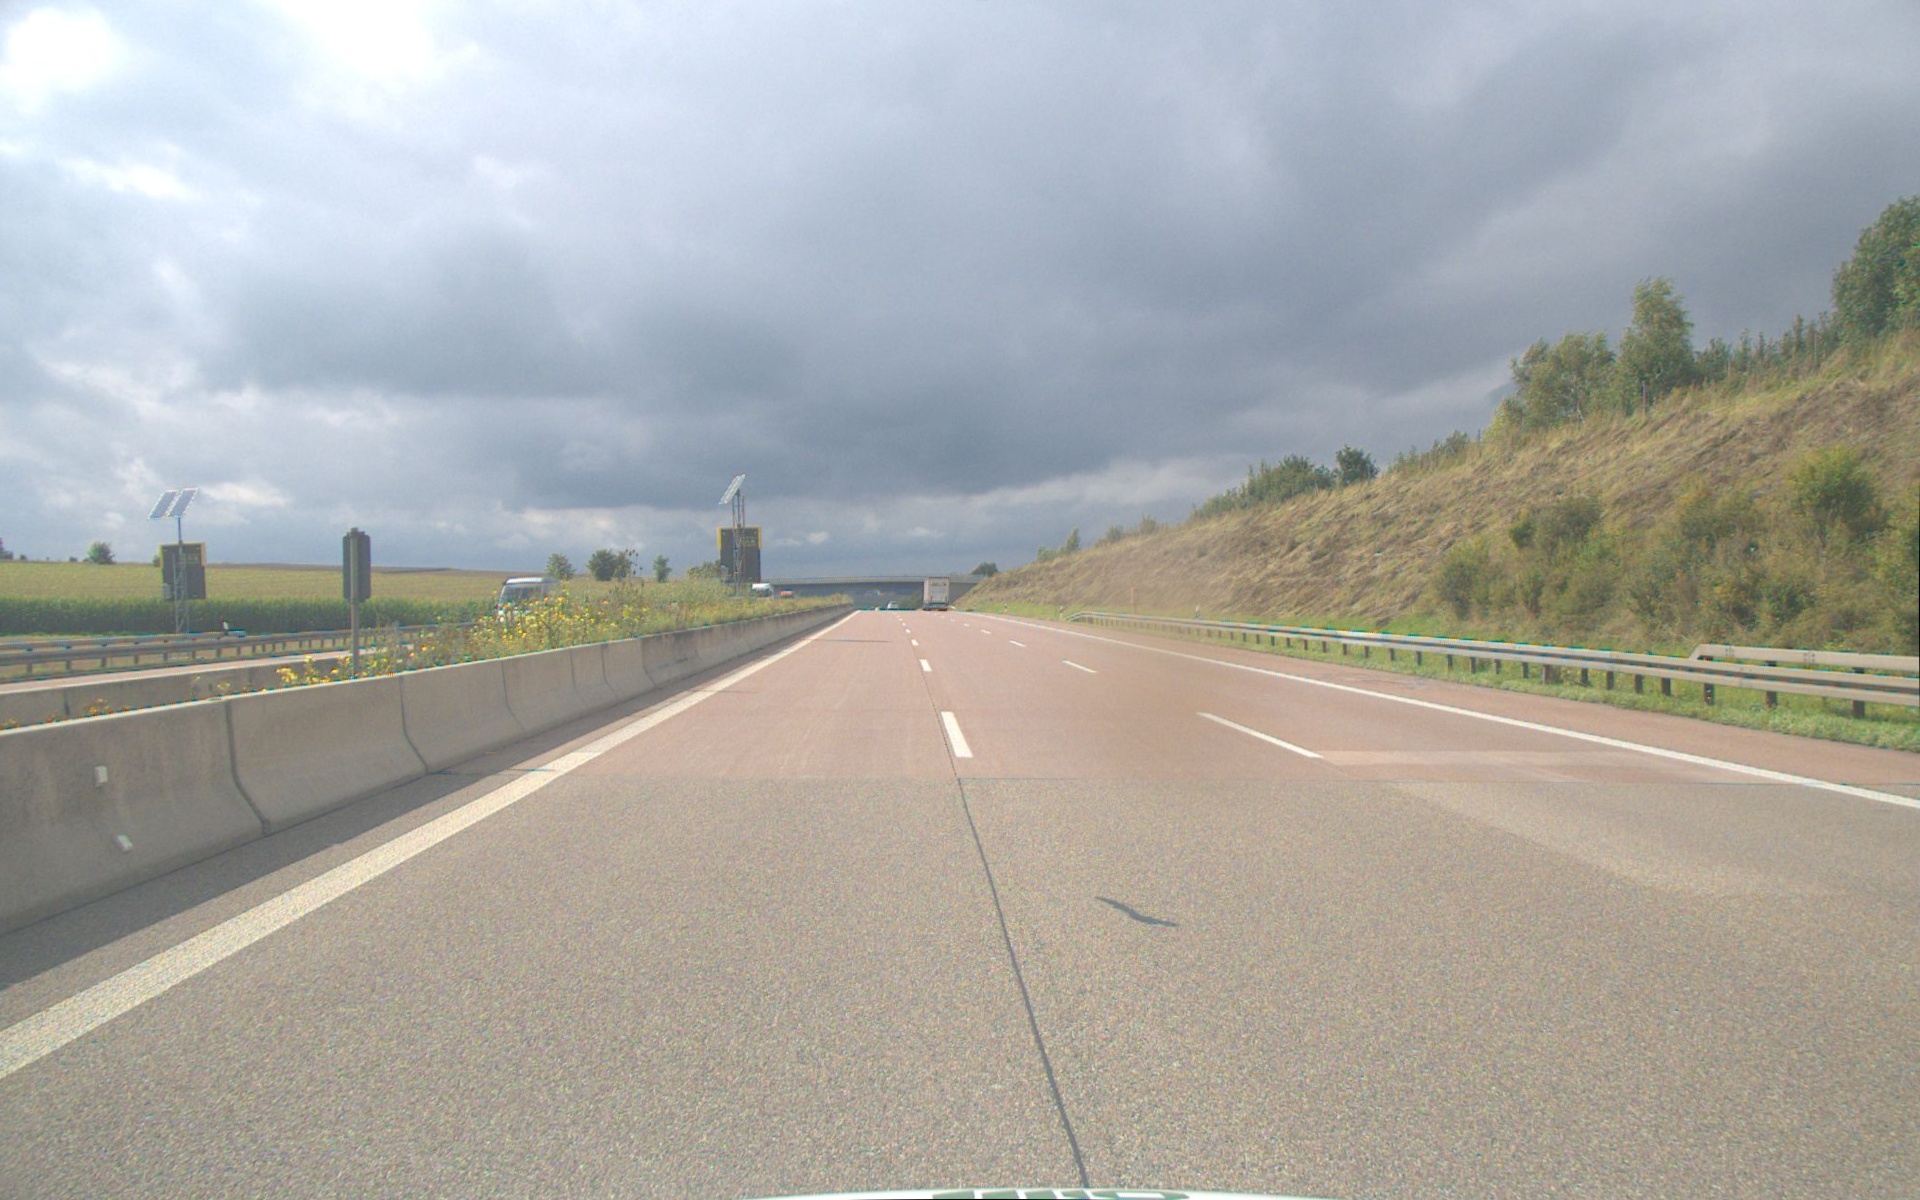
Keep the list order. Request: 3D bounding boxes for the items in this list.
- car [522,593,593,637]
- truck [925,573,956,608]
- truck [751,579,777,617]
[{"bbox_3d":[-18.869,0.669,77.750,2.015,1.946,5.702,-1,0,-1],"label":"car"},{"bbox_3d":[-2.468,-1.201,204.132,3.544,4.014,11.171,1,0,-1],"label":"truck"},{"bbox_3d":[-27.397,-0.276,231.791,2.931,5.154,10.976,1,0,-4],"label":"truck"}]
